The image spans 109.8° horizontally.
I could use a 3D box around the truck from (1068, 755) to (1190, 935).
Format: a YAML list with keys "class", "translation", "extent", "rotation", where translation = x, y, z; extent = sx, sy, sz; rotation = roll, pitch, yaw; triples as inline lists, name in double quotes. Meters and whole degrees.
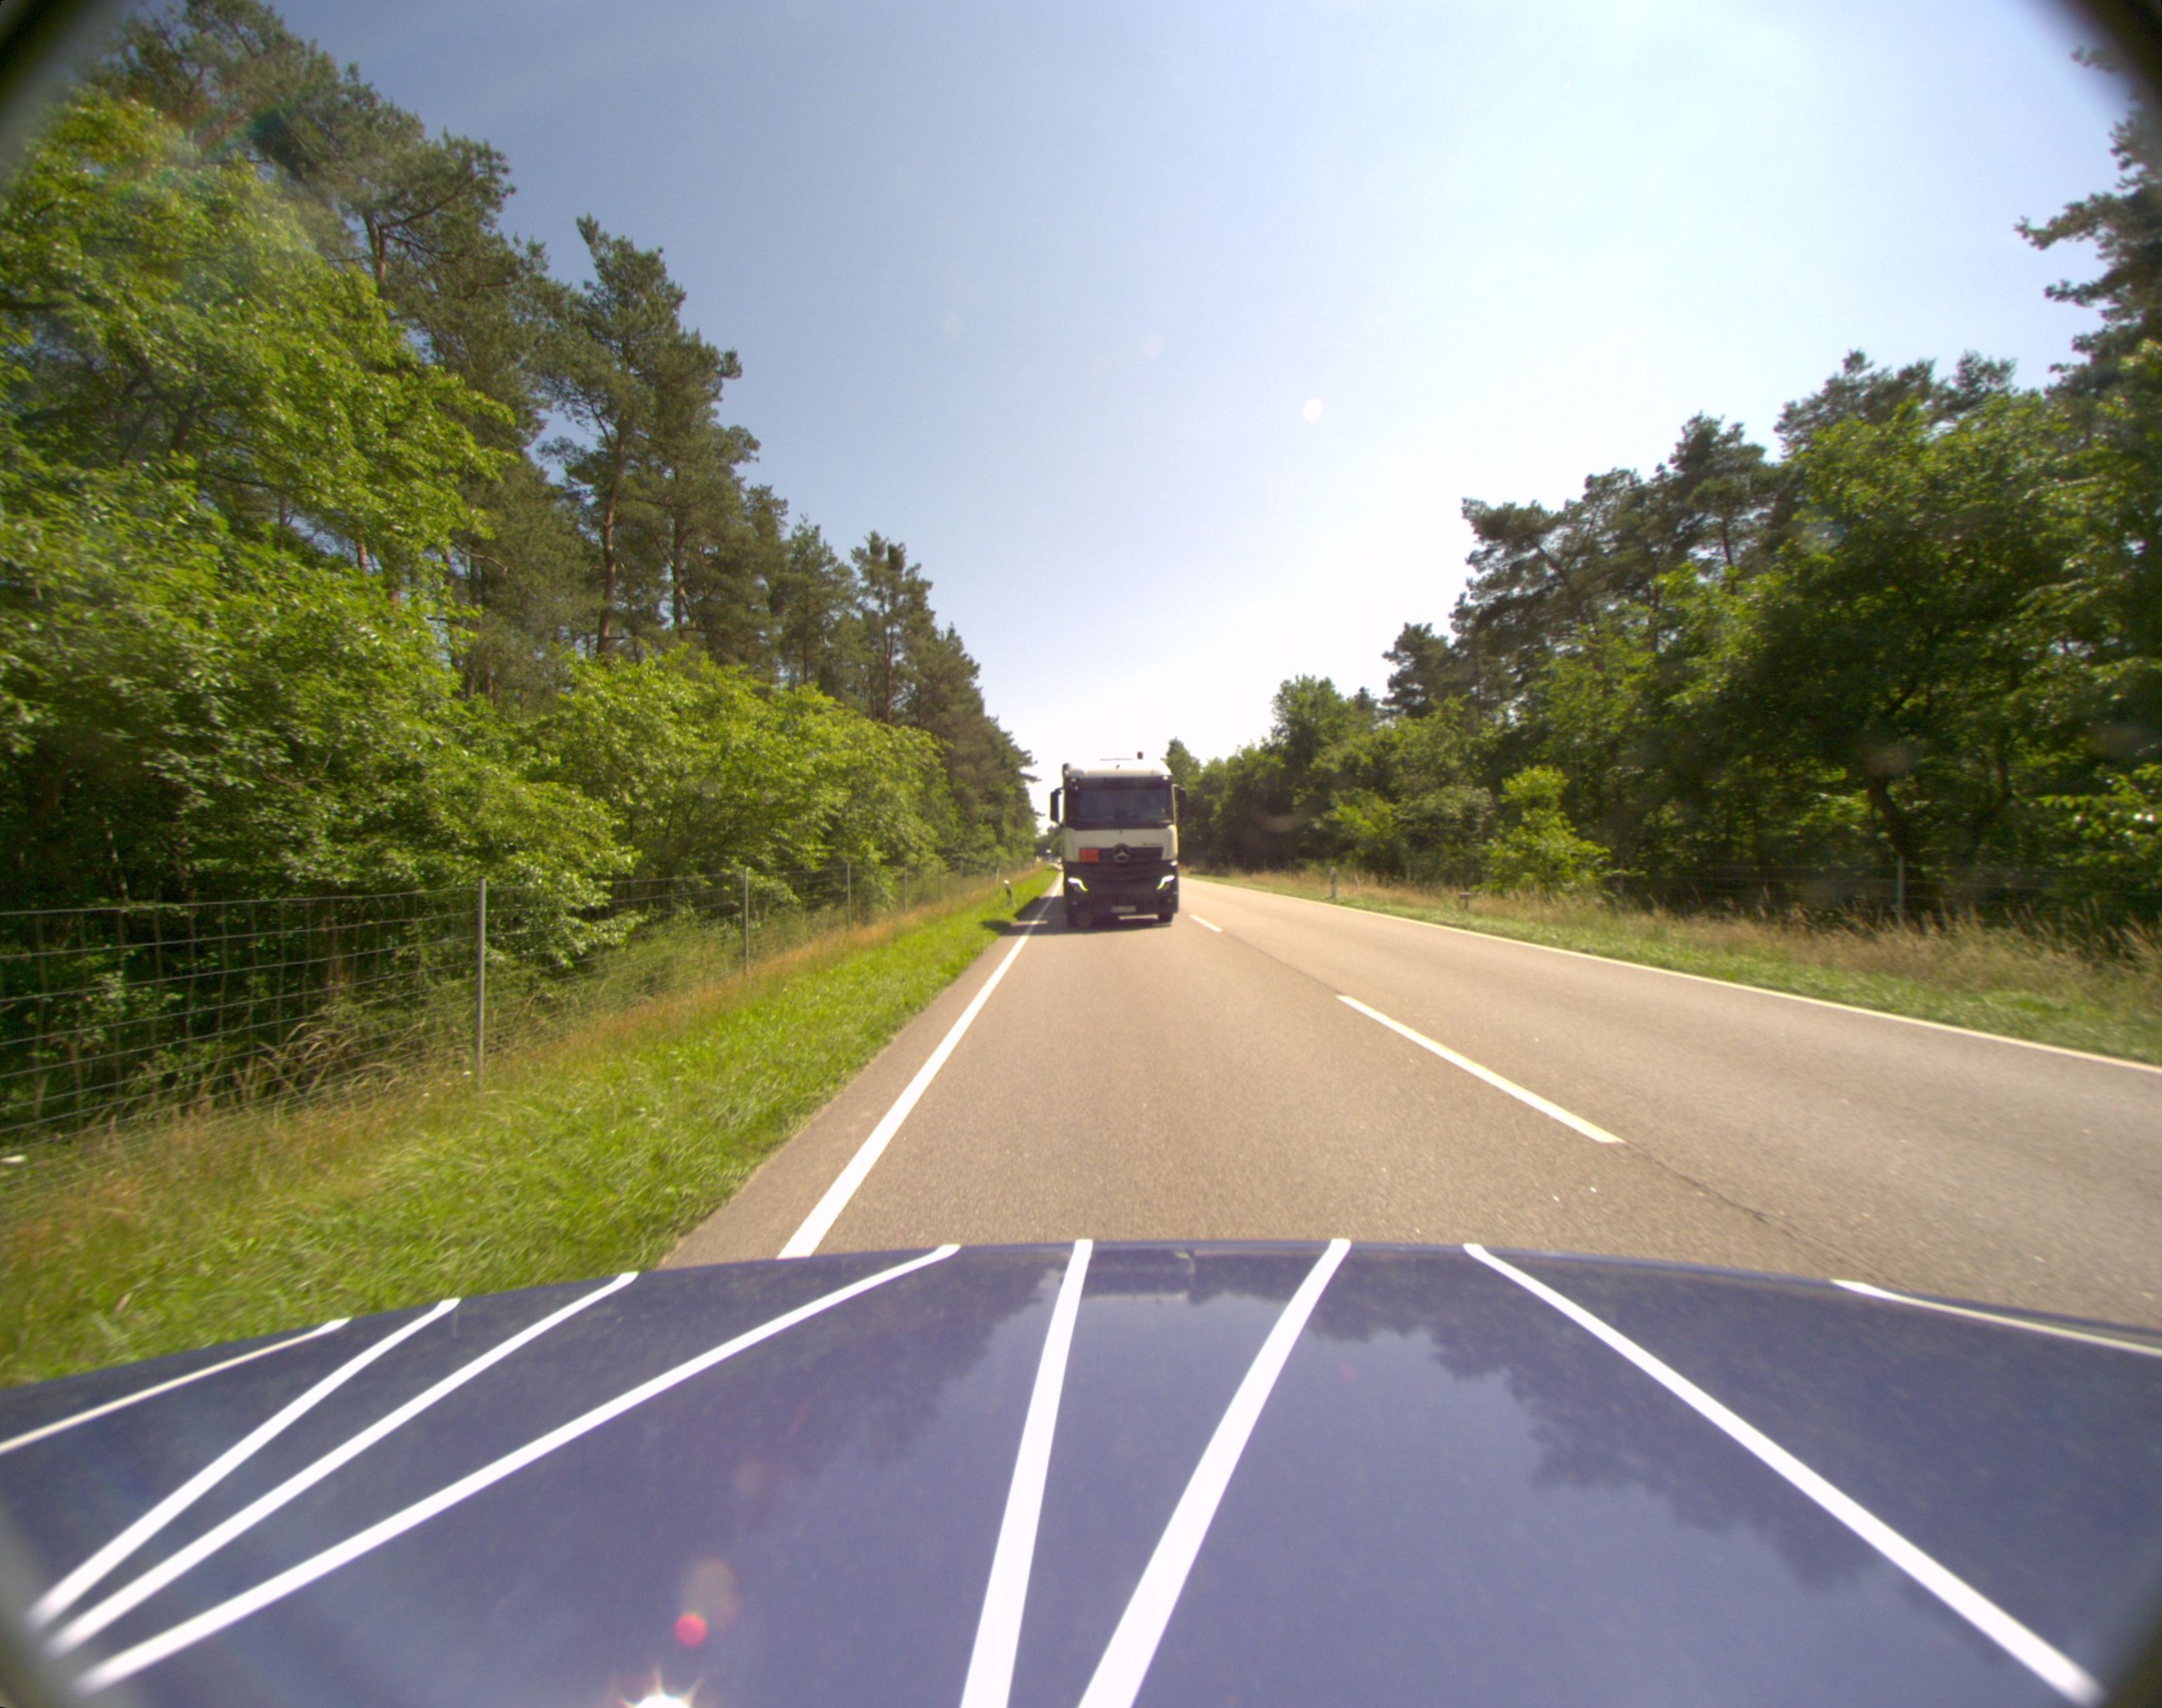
- class: "truck"
  translation: [0.936, -0.177, 18.985]
  extent: [2.435, 3.672, 6.456]
  rotation: [-2, 0, -1]

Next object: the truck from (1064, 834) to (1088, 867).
- class: "truck"
  translation: [-0.542, -0.390, 87.521]
  extent: [2.494, 3.618, 6.103]
  rotation: [-2, 0, 0]

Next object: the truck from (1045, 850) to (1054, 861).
- class: "truck"
  translation: [-10.177, 0.540, 243.725]
  extent: [2.495, 3.619, 6.100]
  rotation: [-1, 0, -6]

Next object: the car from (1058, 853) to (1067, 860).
- class: "car"
  translation: [-3.860, 0.537, 159.340]
  extent: [1.885, 1.462, 3.998]
  rotation: [-1, 0, -3]
